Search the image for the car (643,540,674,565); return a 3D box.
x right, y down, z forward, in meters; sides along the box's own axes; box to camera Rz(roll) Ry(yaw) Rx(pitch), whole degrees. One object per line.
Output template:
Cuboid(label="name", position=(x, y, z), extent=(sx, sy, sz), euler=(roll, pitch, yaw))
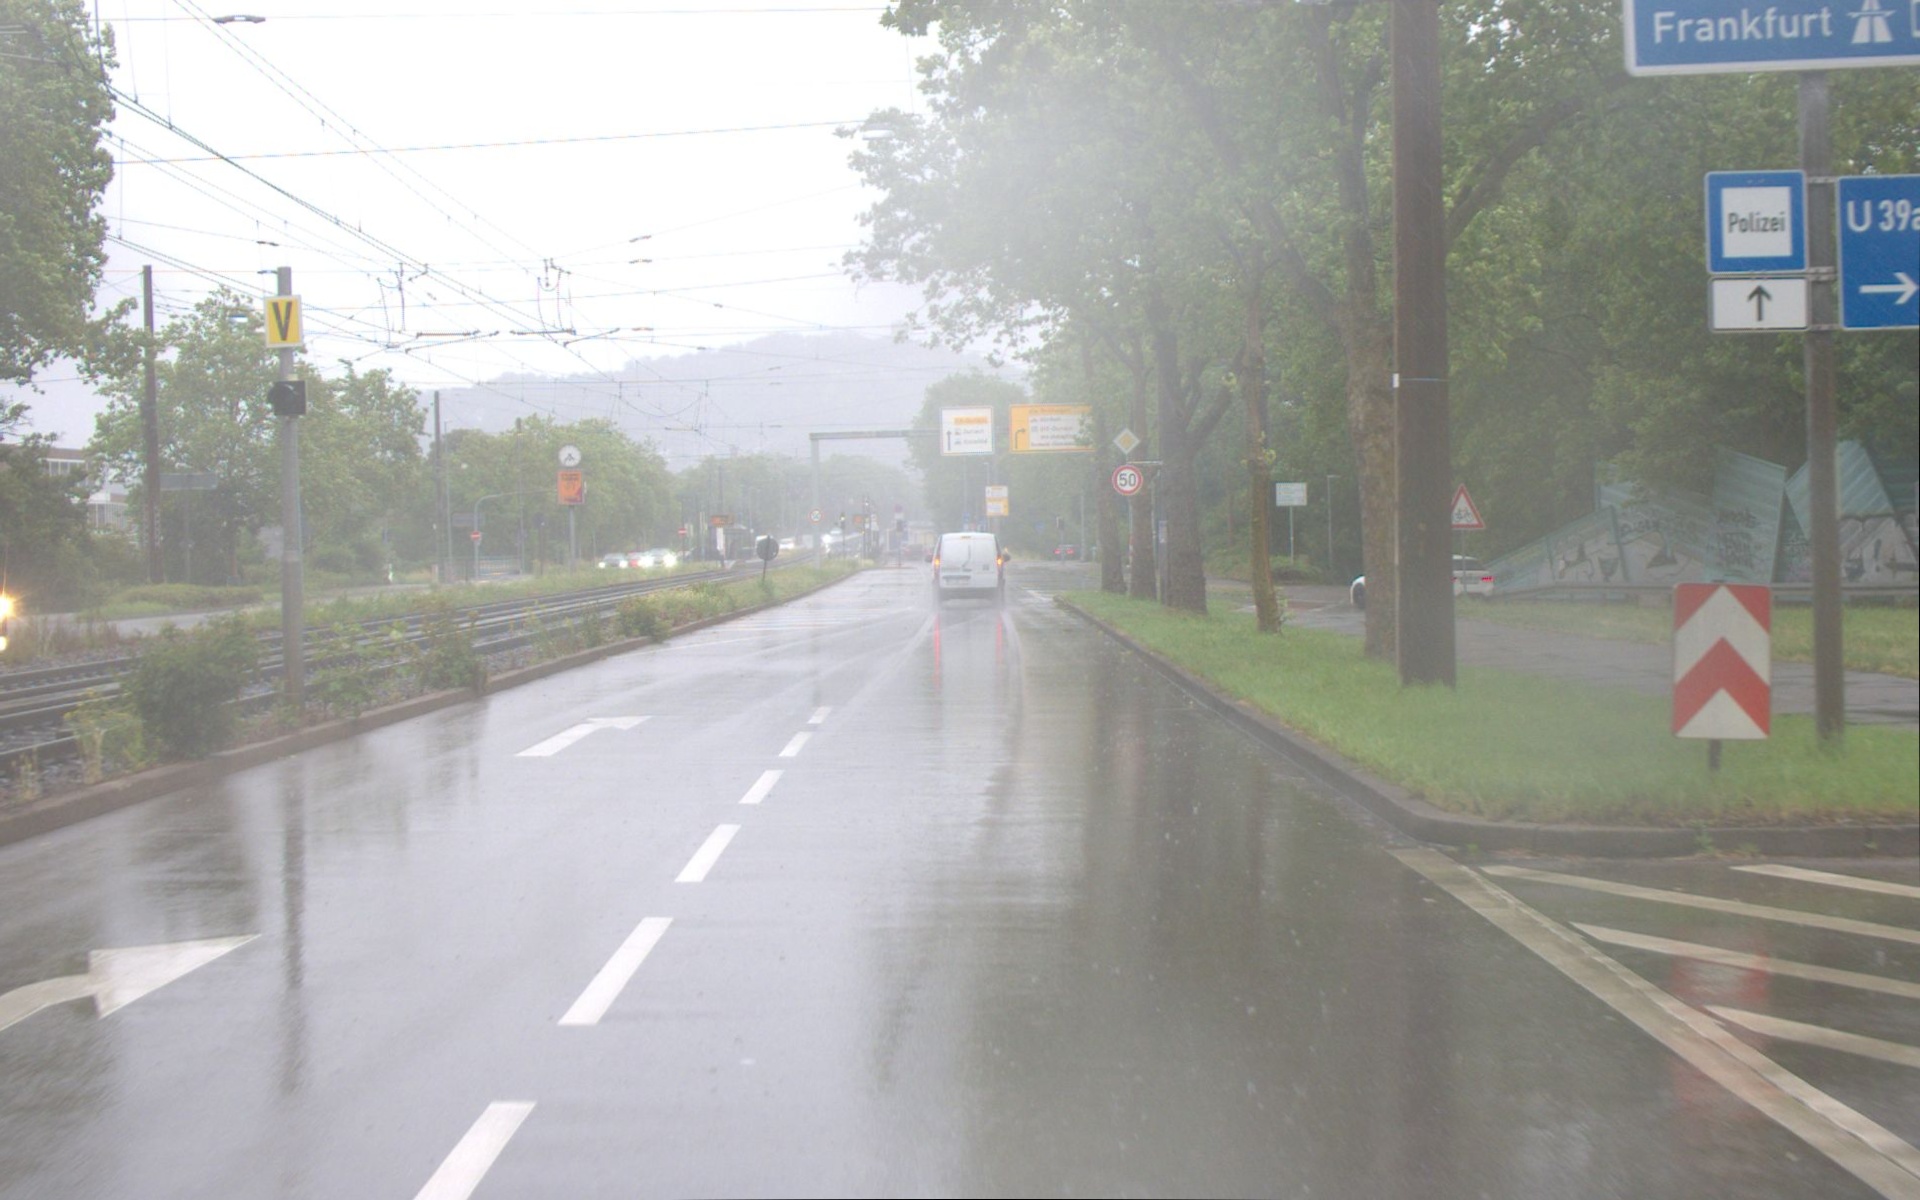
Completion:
Cuboid(label="car", position=(-20.030, -3.146, 228.842), extent=(1.943, 1.610, 4.989), euler=(-1, 1, -4))

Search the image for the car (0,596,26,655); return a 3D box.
Cuboid(label="car", position=(-24.113, 0.624, 83.813), extent=(1.682, 1.401, 3.940), euler=(-1, 1, -2))

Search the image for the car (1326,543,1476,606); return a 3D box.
Cuboid(label="car", position=(11.184, -0.648, 87.428), extent=(1.948, 1.531, 4.468), euler=(-1, 1, -20))

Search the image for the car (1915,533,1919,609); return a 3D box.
Cuboid(label="car", position=(21.003, -0.582, 67.371), extent=(1.863, 1.531, 4.517), euler=(-1, 1, -26))

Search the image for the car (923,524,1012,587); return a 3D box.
Cuboid(label="car", position=(0.151, -1.087, 83.732), extent=(2.077, 1.415, 4.000), euler=(-2, 1, -1))
